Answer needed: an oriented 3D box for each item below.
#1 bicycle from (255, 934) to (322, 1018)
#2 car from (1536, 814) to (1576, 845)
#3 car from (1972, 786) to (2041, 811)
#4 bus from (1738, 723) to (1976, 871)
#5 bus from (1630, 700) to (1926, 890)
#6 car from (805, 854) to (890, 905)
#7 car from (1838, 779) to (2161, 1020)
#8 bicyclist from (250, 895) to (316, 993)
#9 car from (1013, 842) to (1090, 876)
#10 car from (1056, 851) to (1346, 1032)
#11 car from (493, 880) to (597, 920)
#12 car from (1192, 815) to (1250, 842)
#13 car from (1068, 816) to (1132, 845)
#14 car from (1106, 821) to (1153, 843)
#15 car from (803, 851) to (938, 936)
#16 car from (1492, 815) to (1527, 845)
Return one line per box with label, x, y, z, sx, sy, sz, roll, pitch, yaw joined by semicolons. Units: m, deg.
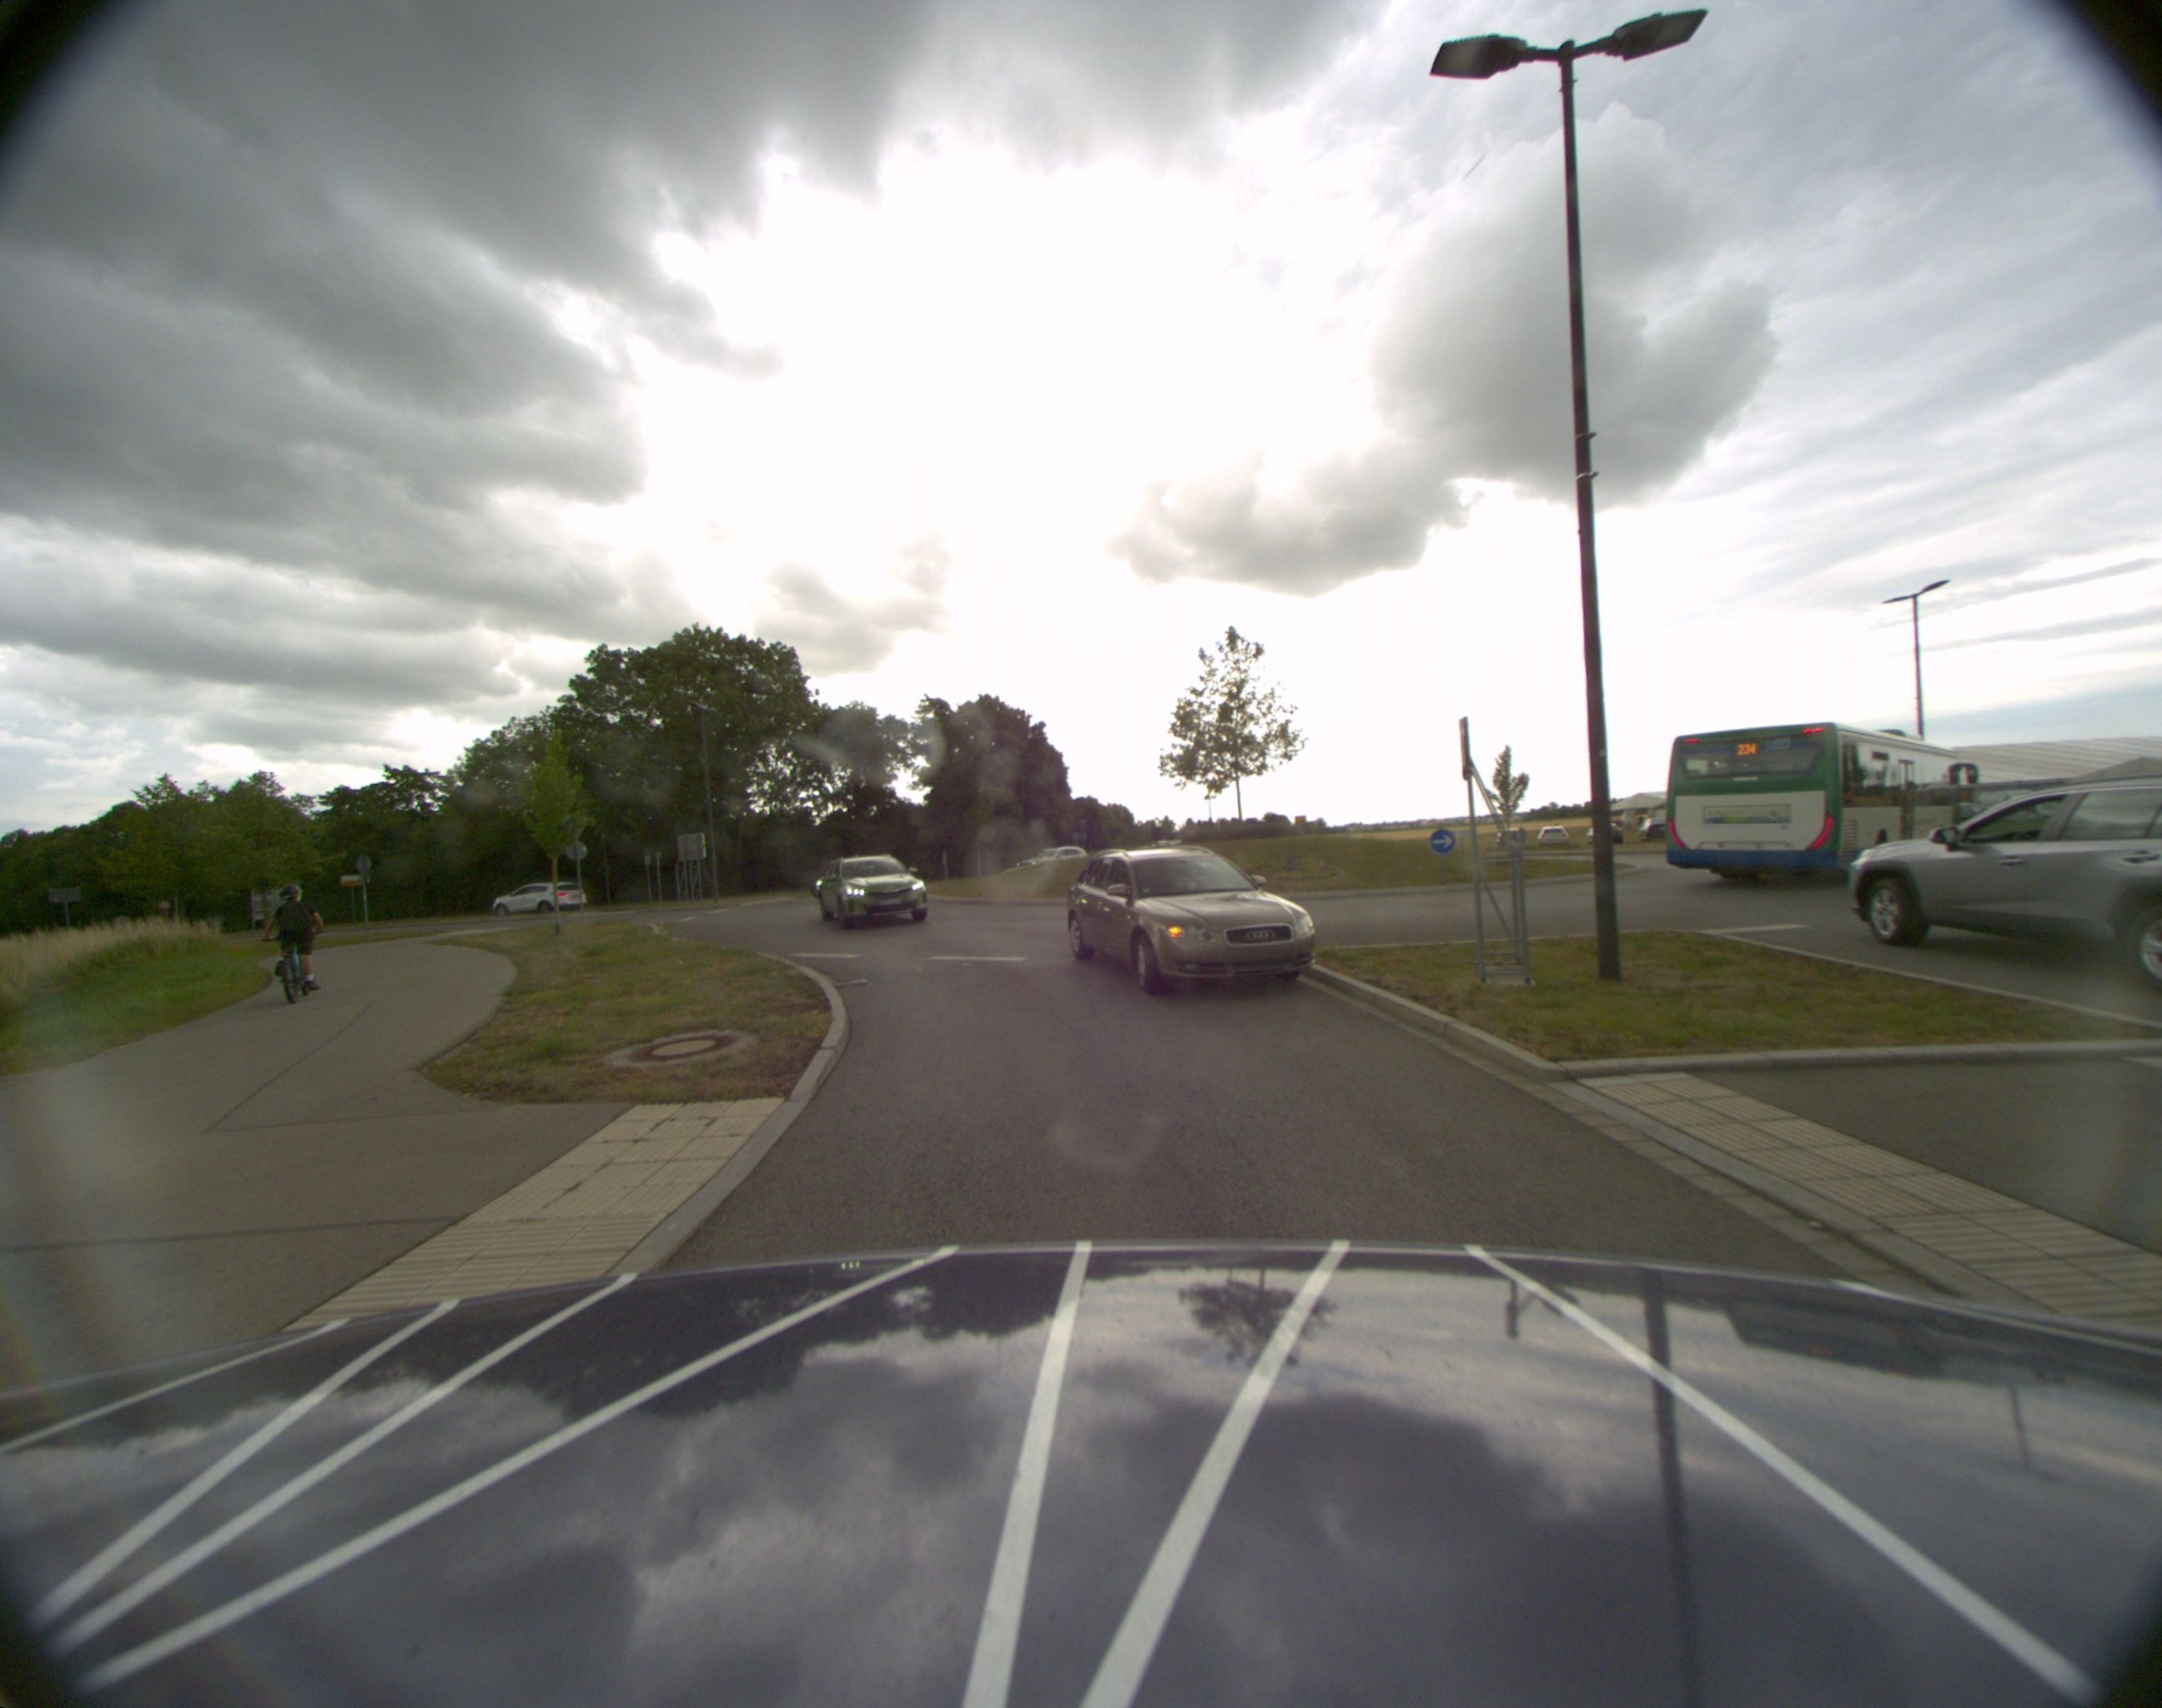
bicycle;-10.855;1.638;10.405;1.297;0.956;0.569;-1;1;43
car;33.436;-1.729;53.572;1.995;2.002;4.006;-2;1;27
car;83.941;-5.039;68.959;4.567;2.002;1.998;-2;1;-10
bus;20.319;-1.364;19.811;6.712;3.261;2.986;-3;1;-32
bus;14.831;-1.116;16.051;6.494;3.261;2.986;-3;1;-32
car;-8.477;0.857;28.010;1.870;1.533;4.197;-4;1;-2
car;8.833;0.245;6.202;1.828;1.713;4.403;-2;2;15
bicyclist;-10.904;1.207;10.382;0.657;1.237;0.556;-1;2;43
car;-1.588;0.236;41.618;1.994;1.674;4.008;-1;1;39
car;1.058;0.751;8.716;1.703;1.458;3.994;-3;1;-16
car;-26.356;2.265;37.384;4.065;1.762;2.002;-2;1;16
car;9.297;-1.683;50.283;1.994;1.674;4.008;-1;1;39
car;1.333;-1.581;51.271;1.994;1.794;4.781;-2;1;35
car;4.000;-1.809;62.487;1.994;1.674;4.007;-2;1;35
car;-5.126;0.833;17.953;1.874;1.579;5.051;-5;1;-28
car;31.076;-1.751;55.150;1.995;2.002;4.006;-2;1;27
